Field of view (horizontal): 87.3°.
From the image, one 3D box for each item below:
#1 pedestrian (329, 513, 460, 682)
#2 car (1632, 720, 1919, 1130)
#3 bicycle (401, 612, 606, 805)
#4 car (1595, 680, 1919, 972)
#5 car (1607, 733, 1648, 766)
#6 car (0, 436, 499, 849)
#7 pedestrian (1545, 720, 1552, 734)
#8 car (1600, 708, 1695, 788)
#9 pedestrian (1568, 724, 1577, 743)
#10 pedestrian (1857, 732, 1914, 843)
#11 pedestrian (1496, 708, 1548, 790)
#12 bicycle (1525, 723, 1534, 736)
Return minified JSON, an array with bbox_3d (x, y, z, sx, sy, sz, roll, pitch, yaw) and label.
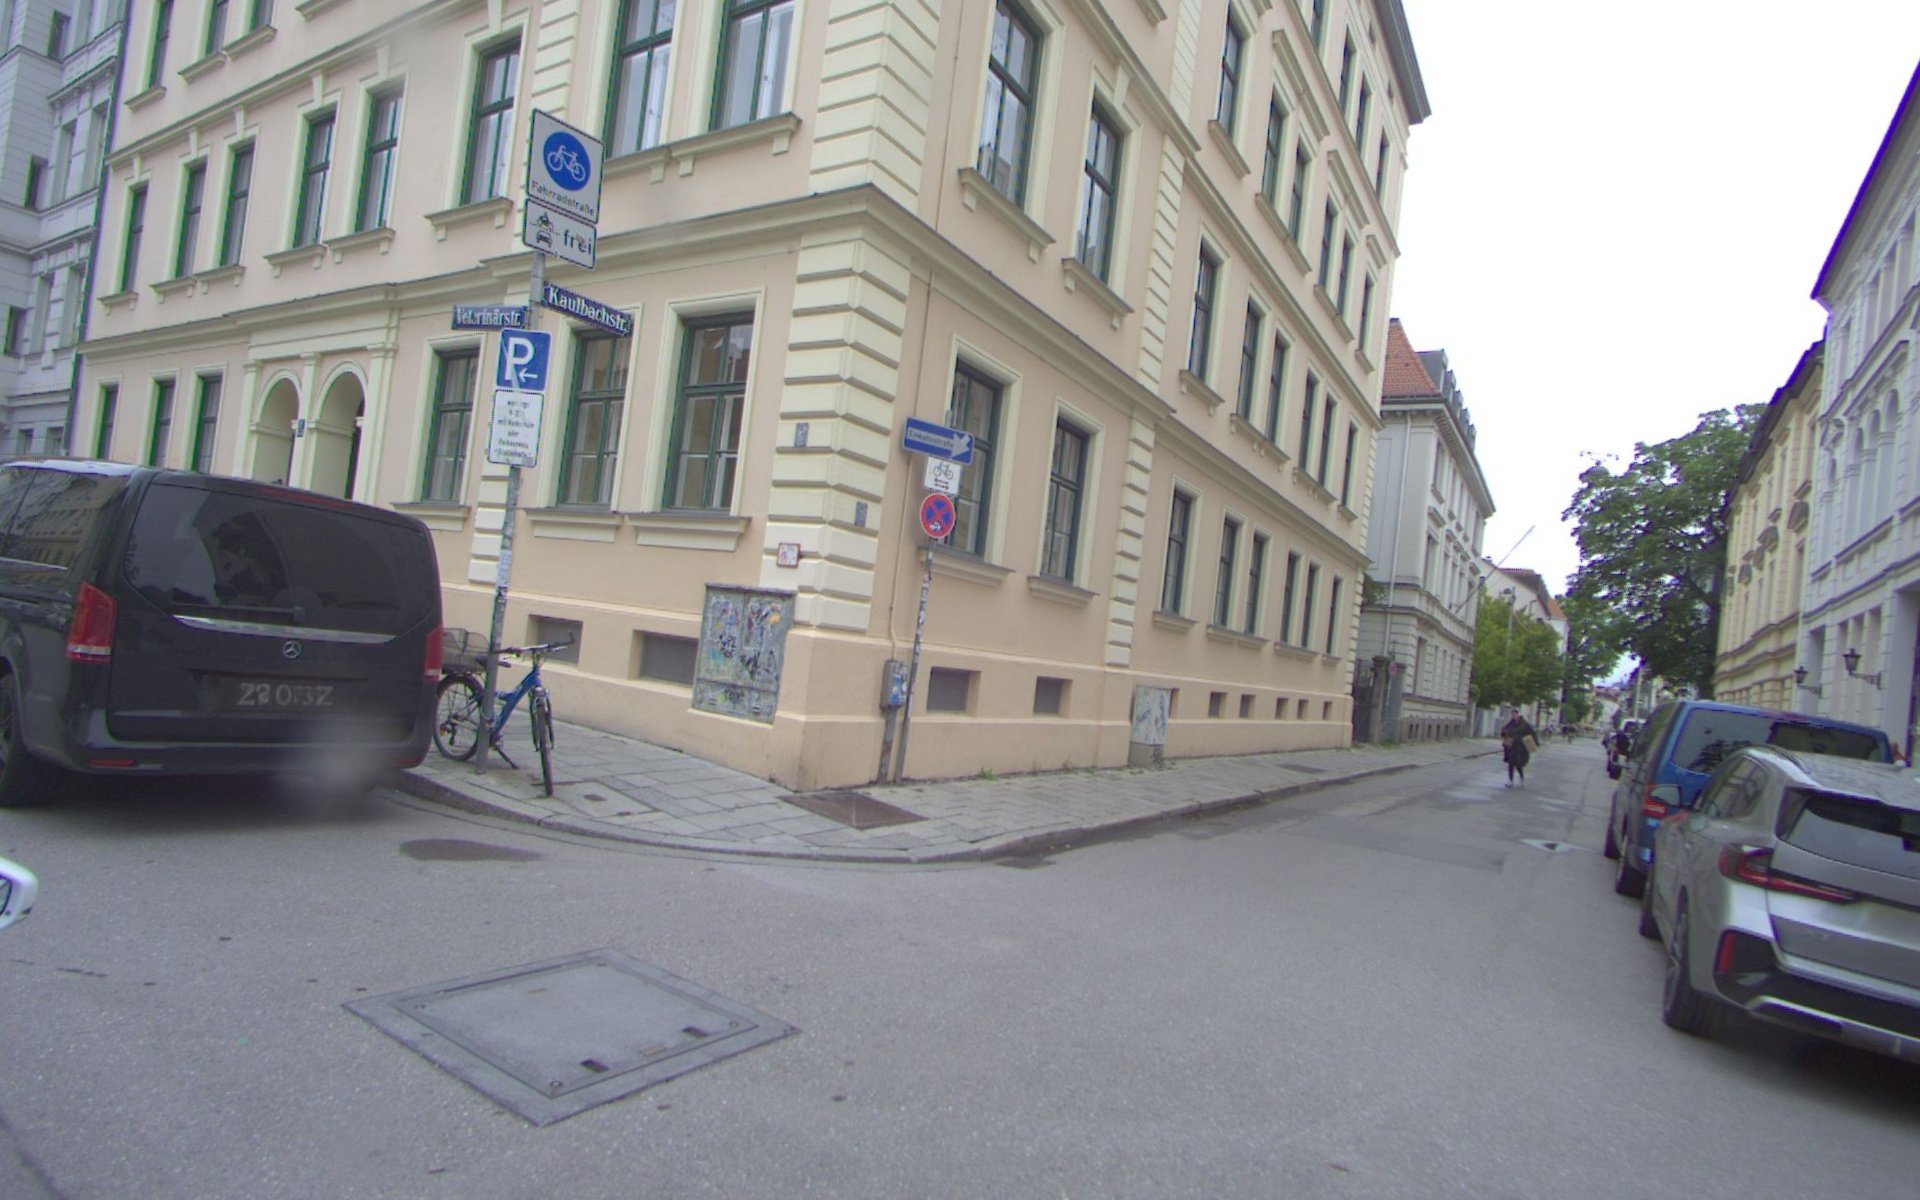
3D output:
[{"bbox_3d":[-6.224,-0.026,11.080,0.987,1.737,0.720,5,-2,33],"label":"pedestrian"},{"bbox_3d":[5.385,1.720,6.178,1.726,1.624,4.095,9,-1,32],"label":"car"},{"bbox_3d":[-3.366,0.744,7.347,1.701,1.066,0.465,9,2,35],"label":"bicycle"},{"bbox_3d":[7.813,2.018,10.237,1.942,1.939,4.448,10,0,32],"label":"car"},{"bbox_3d":[39.059,8.720,58.904,1.641,1.432,3.785,10,0,32],"label":"car"},{"bbox_3d":[-5.619,0.079,6.873,5.171,1.885,2.000,6,-2,35],"label":"car"},{"bbox_3d":[62.198,13.418,106.278,0.539,1.450,0.470,5,-2,33],"label":"pedestrian"},{"bbox_3d":[22.117,4.702,32.518,2.043,2.009,4.338,10,0,32],"label":"car"},{"bbox_3d":[58.397,12.715,95.877,0.583,1.731,0.584,5,-2,33],"label":"pedestrian"},{"bbox_3d":[16.025,3.226,17.429,0.535,1.801,0.509,5,-1,35],"label":"pedestrian"},{"bbox_3d":[12.285,3.227,21.983,0.804,1.647,0.870,5,-2,33],"label":"pedestrian"},{"bbox_3d":[50.593,11.518,89.365,0.386,0.973,1.540,7,-3,36],"label":"bicycle"}]
